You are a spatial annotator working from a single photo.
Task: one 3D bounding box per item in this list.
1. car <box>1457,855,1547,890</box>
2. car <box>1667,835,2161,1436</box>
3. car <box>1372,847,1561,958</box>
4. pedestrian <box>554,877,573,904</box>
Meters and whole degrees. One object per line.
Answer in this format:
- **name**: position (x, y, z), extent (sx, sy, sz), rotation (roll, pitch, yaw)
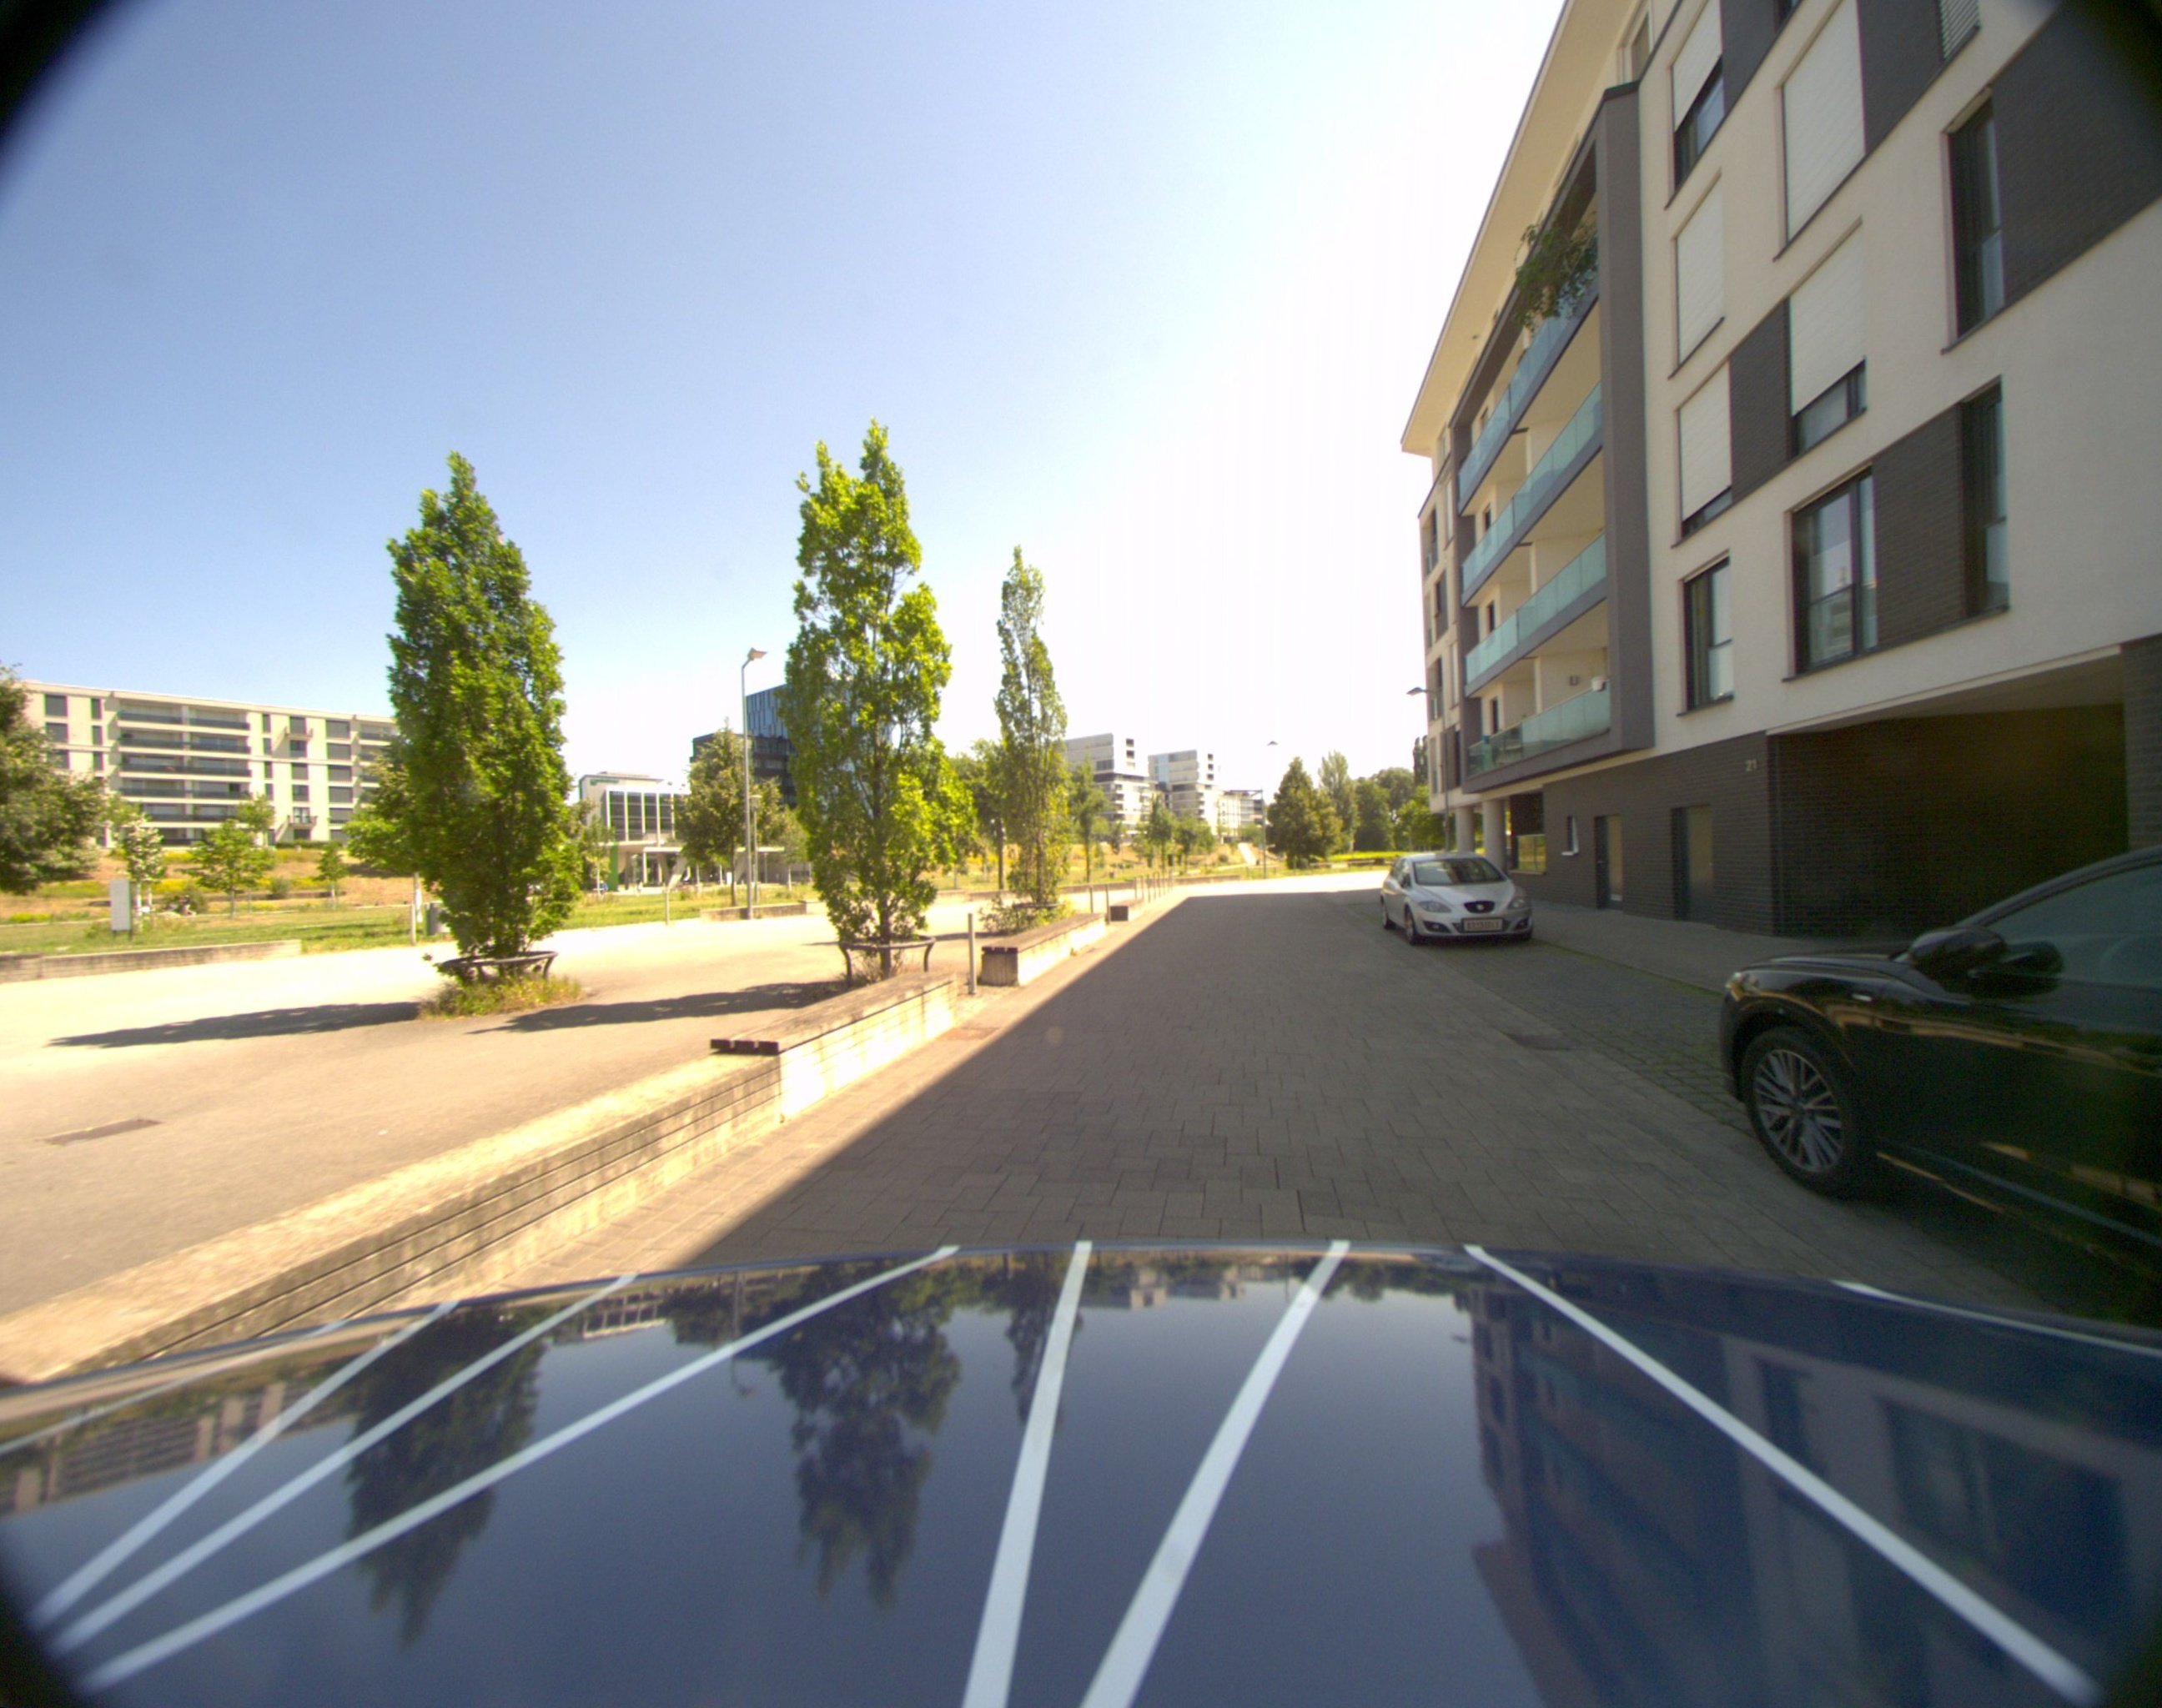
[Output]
- **car**: position (23.847, 1.026, 43.075), extent (3.999, 1.772, 1.999), rotation (-3, 0, -7)
- **car**: position (3.686, 0.737, 1.800), extent (1.776, 1.510, 4.400), rotation (-4, -1, 11)
- **car**: position (6.339, 0.709, 13.017), extent (1.785, 1.496, 4.118), rotation (-4, -1, 12)
- **pedestrian**: position (-34.624, 2.424, 50.833), extent (0.815, 1.717, 0.615), rotation (-3, 0, -9)
